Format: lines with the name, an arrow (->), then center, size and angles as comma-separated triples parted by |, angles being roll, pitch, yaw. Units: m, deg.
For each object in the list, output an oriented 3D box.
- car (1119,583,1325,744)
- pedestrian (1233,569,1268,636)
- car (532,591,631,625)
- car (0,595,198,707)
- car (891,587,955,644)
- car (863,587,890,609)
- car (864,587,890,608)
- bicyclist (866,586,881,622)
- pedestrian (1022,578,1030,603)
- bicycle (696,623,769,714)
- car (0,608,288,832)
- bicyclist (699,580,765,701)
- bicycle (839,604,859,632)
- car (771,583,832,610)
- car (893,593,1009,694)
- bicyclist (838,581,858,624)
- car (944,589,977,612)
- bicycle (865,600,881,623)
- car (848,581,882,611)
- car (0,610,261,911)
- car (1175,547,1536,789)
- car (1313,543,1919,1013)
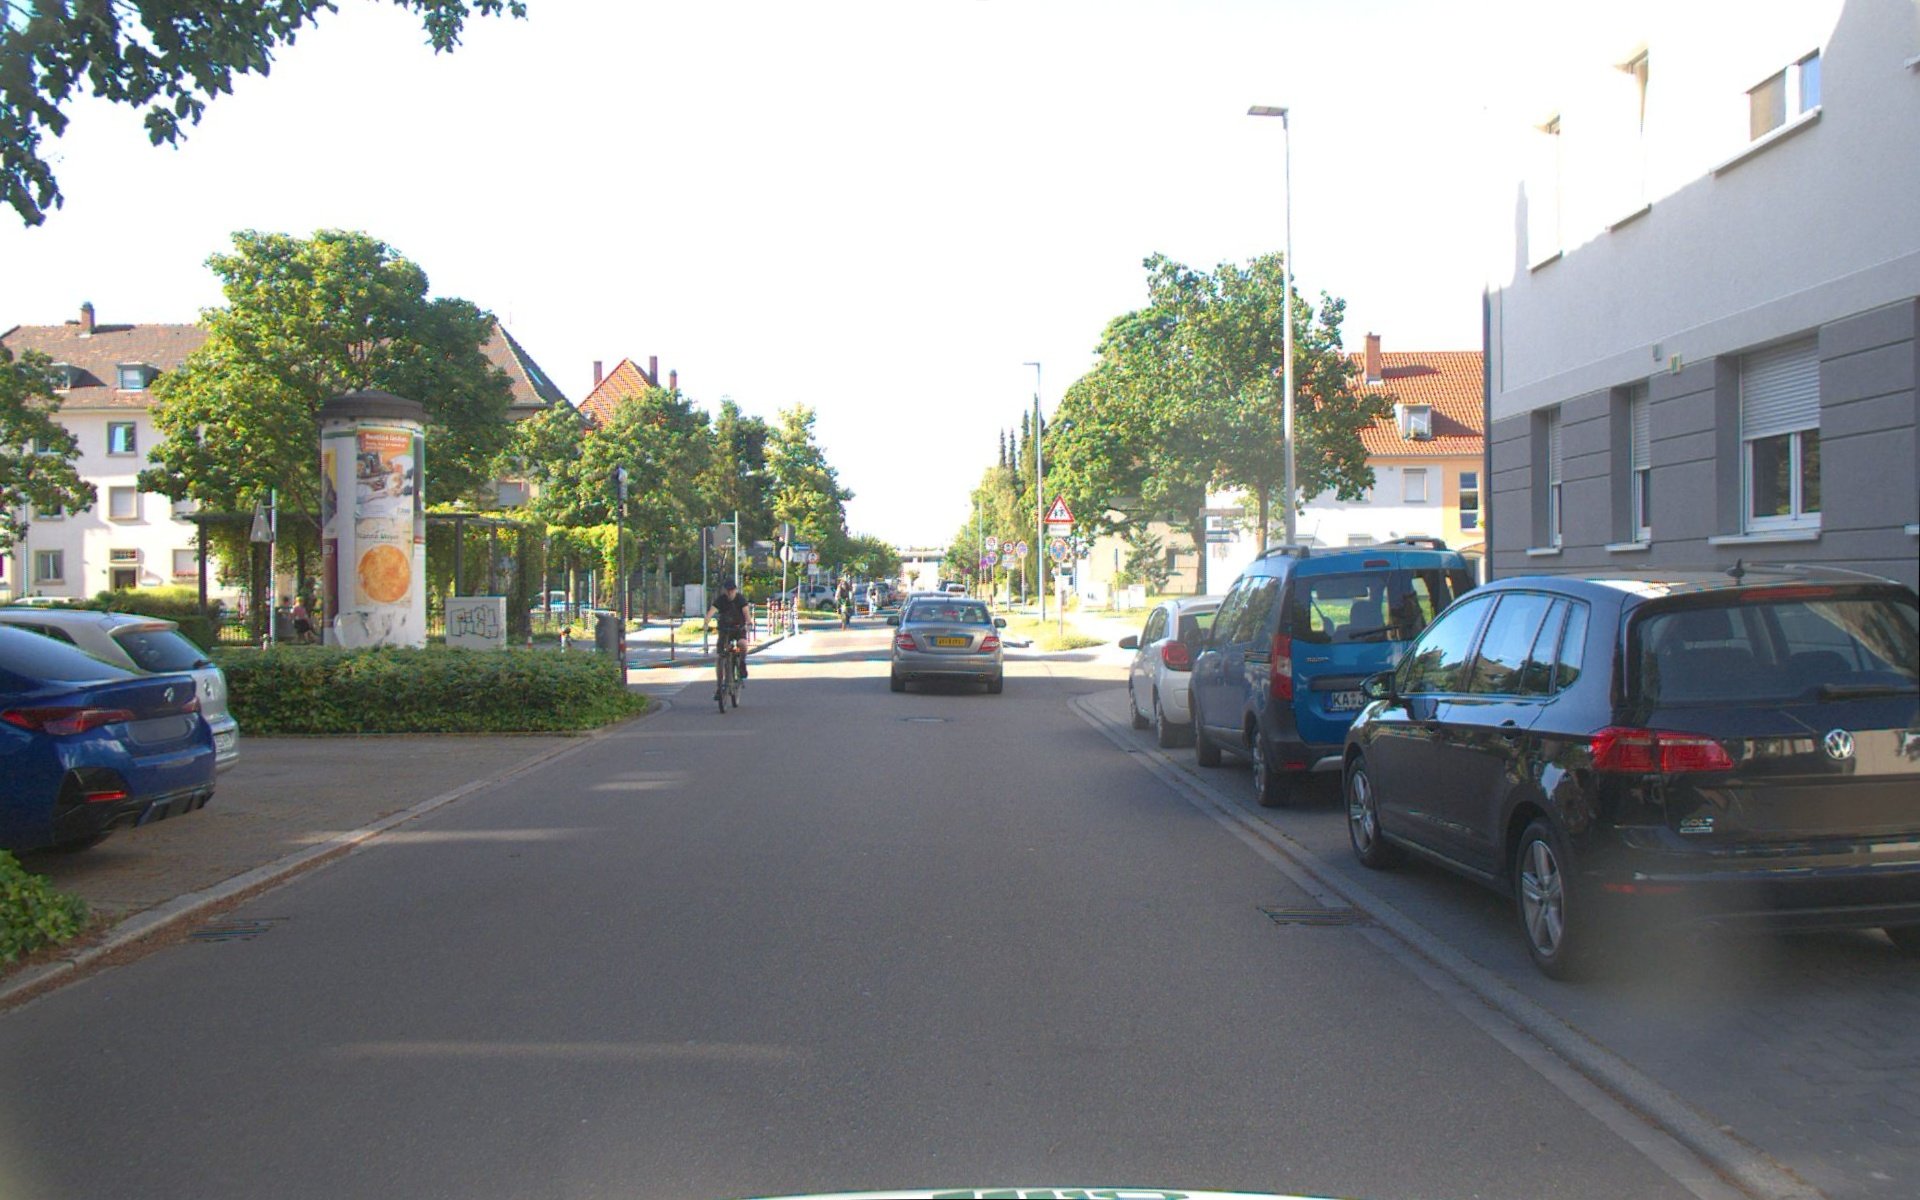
car -> 2.723, 0.638, 17.932 | 1.532, 1.435, 3.729 | -5, -1, 0
pedestrian -> 7.210, 0.063, 41.039 | 0.635, 1.651, 0.615 | -1, 0, 37
car -> -16.513, 0.352, 72.358 | 3.908, 1.400, 1.998 | 1, -1, -4
car -> -15.686, 0.908, 28.596 | 4.053, 1.510, 1.807 | -1, -15, -1
car -> -1.045, 0.434, 45.937 | 1.672, 1.473, 4.201 | 1, -1, -2
car -> -5.988, -0.143, 118.472 | 1.752, 1.559, 3.995 | 0, 0, -6
car -> -6.242, -0.185, 123.612 | 1.752, 1.559, 3.995 | 0, 0, -6
bicyclist -> -3.738, 0.161, 71.359 | 0.560, 1.535, 0.655 | -1, 0, 0
pedestrian -> 4.264, -0.594, 106.998 | 0.499, 1.586, 0.643 | 1, -1, 0
bicycle -> -3.019, 0.891, 22.088 | 0.705, 1.098, 1.890 | -1, 0, -1
car -> -6.876, 0.796, 11.734 | 3.507, 1.455, 1.730 | 0, 0, -2
bicyclist -> -3.028, 0.524, 22.084 | 0.706, 1.563, 1.137 | -1, 0, -1
bicycle -> -4.003, 0.639, 59.592 | 0.577, 0.948, 1.850 | -1, 0, 0
car -> -9.055, -0.202, 94.532 | 3.428, 1.560, 1.642 | 0, 0, -8
car -> -0.139, 0.669, 26.382 | 1.691, 1.445, 3.960 | 1, -1, 0
bicyclist -> -4.025, 0.081, 59.570 | 0.666, 1.535, 0.655 | -1, 0, 0
car -> 0.008, 0.018, 102.615 | 1.689, 1.353, 3.995 | 0, 0, -6
bicycle -> -3.733, 0.507, 71.331 | 0.577, 0.948, 1.850 | -1, 0, 0
car -> -5.752, -0.245, 100.003 | 1.836, 1.758, 3.995 | -1, 0, -6
car -> -6.461, 0.807, 9.130 | 4.384, 1.505, 1.867 | 0, -1, -3
car -> 2.894, 0.480, 13.065 | 1.648, 1.460, 4.264 | -5, -1, -1
car -> 3.047, 0.592, 7.859 | 1.702, 1.558, 4.177 | -3, 0, -1
